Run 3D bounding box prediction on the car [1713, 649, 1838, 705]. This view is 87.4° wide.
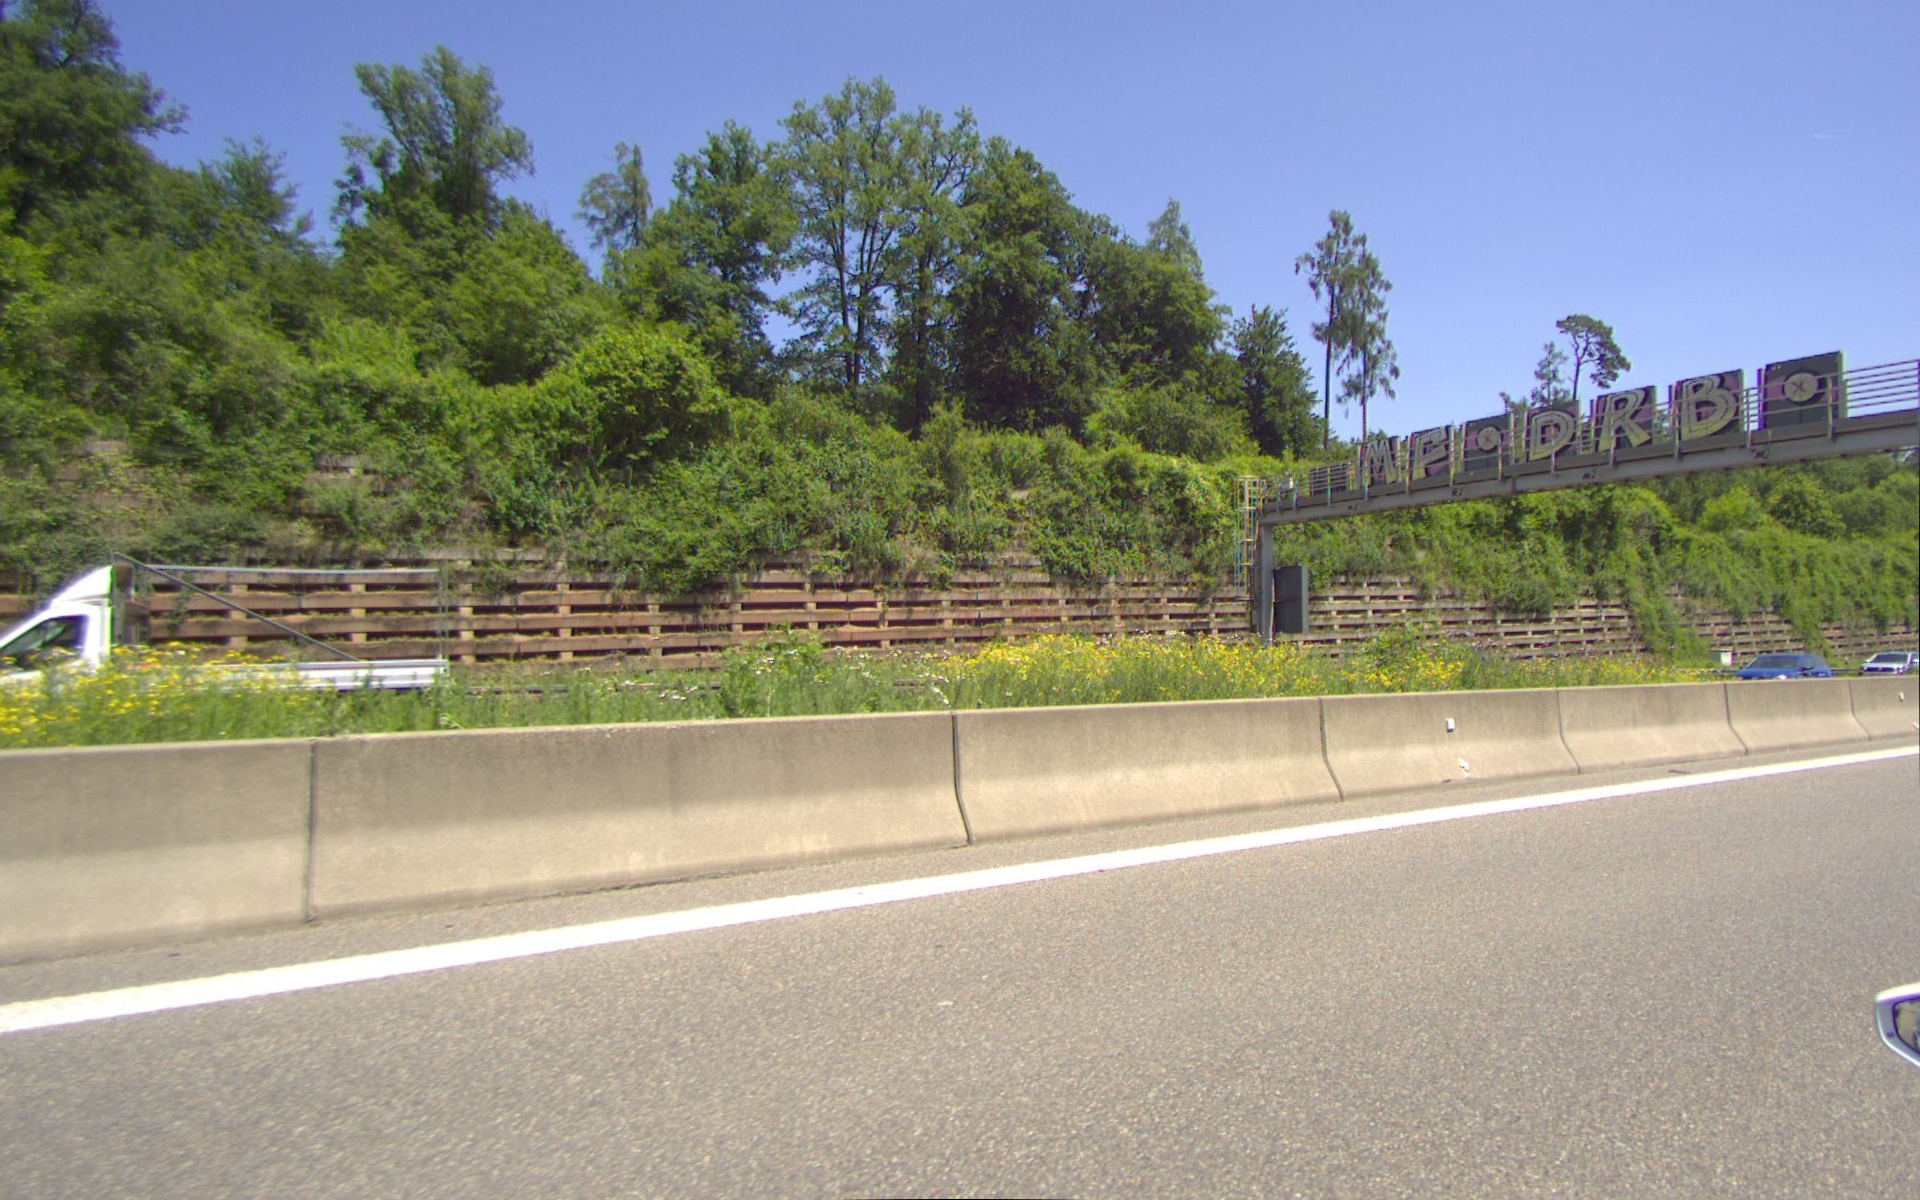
[{"bbox_3d":[25.760,2.388,31.707,4.150,1.626,1.700,1,-2,-31],"label":"car"}]

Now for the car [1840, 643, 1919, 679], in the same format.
[{"bbox_3d":[43.136,2.808,46.815,4.320,1.546,1.890,1,-2,-30],"label":"car"}]

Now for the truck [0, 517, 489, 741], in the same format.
[{"bbox_3d":[-11.484,0.477,16.041,6.980,3.032,2.567,1,-2,-31],"label":"truck"}]
